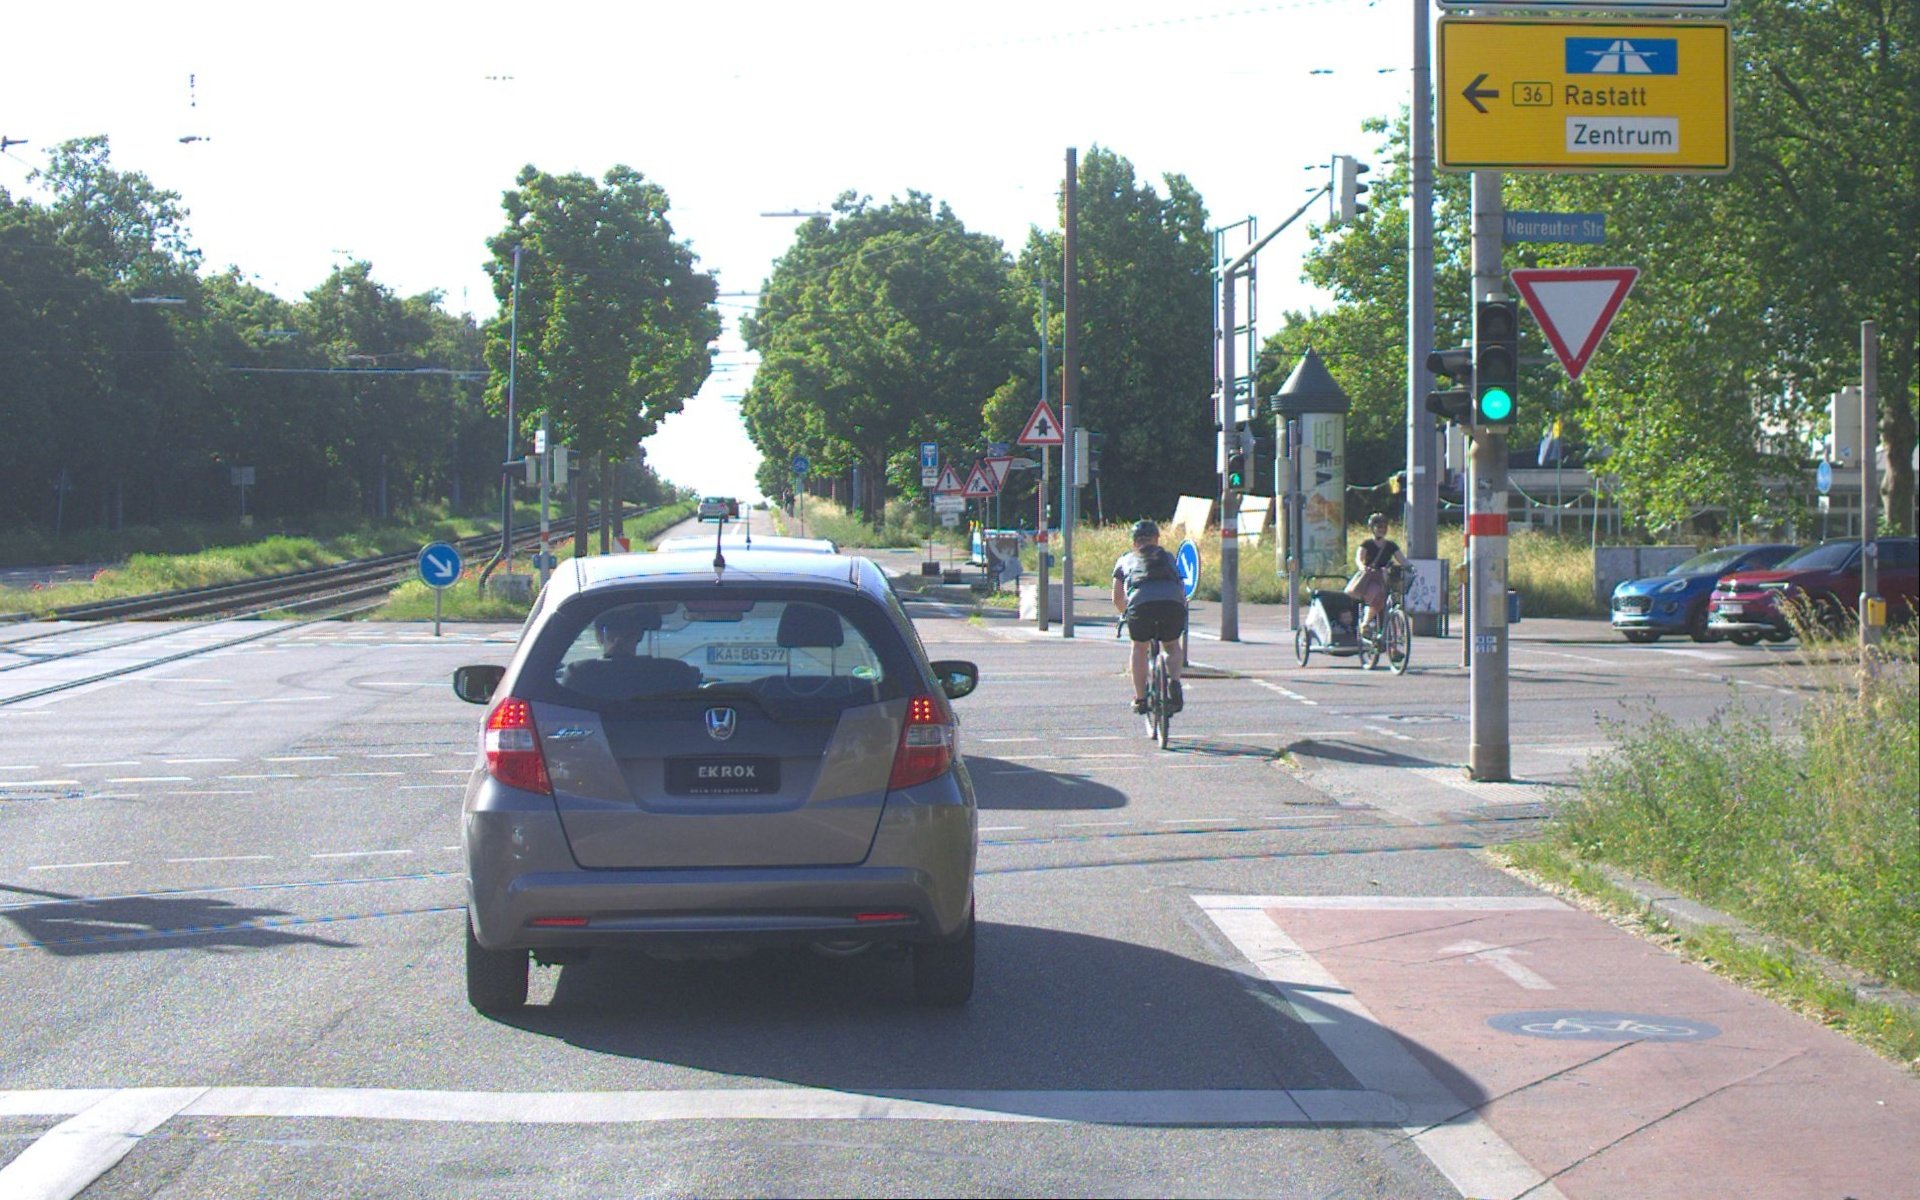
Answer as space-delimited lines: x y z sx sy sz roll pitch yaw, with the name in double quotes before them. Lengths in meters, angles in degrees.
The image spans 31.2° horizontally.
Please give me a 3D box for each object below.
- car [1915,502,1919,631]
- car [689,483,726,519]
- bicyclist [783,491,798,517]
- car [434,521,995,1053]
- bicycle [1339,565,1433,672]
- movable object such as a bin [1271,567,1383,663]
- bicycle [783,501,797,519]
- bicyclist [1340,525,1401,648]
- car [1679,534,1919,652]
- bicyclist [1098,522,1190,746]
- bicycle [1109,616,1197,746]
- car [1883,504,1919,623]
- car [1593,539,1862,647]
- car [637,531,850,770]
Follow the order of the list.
"car" 15.051 -0.459 45.698 4.480 1.705 1.921 -1 1 -29
"car" -14.617 -5.735 198.942 1.993 2.007 4.000 0 1 -2
"bicyclist" -10.124 -5.745 205.266 0.817 1.519 0.966 1 0 -2
"car" -0.807 0.536 12.392 1.670 1.510 3.674 2 2 -2
"bicycle" 4.609 0.187 37.279 0.466 1.115 1.821 0 1 -11
"movable object such as a bin" 4.179 0.156 39.243 0.908 1.065 1.317 0 1 -12
"bicycle" -10.139 -5.368 205.248 0.817 1.044 2.506 1 0 -2
"bicyclist" 4.515 -0.152 37.839 0.509 1.336 0.565 0 1 -11
"car" 12.327 -0.129 48.353 4.076 1.595 1.817 -1 1 -25
"bicyclist" 1.393 0.249 26.158 0.615 1.674 0.933 0 1 -2
"bicycle" 1.478 0.602 26.521 0.524 0.920 2.089 0 1 -1
"car" 18.998 -0.634 60.092 5.101 2.063 2.131 0 1 -8
"car" 11.720 -0.128 52.461 3.847 1.595 1.713 -1 1 -29
"car" -1.446 0.299 23.483 1.351 1.522 3.124 0 1 -2
